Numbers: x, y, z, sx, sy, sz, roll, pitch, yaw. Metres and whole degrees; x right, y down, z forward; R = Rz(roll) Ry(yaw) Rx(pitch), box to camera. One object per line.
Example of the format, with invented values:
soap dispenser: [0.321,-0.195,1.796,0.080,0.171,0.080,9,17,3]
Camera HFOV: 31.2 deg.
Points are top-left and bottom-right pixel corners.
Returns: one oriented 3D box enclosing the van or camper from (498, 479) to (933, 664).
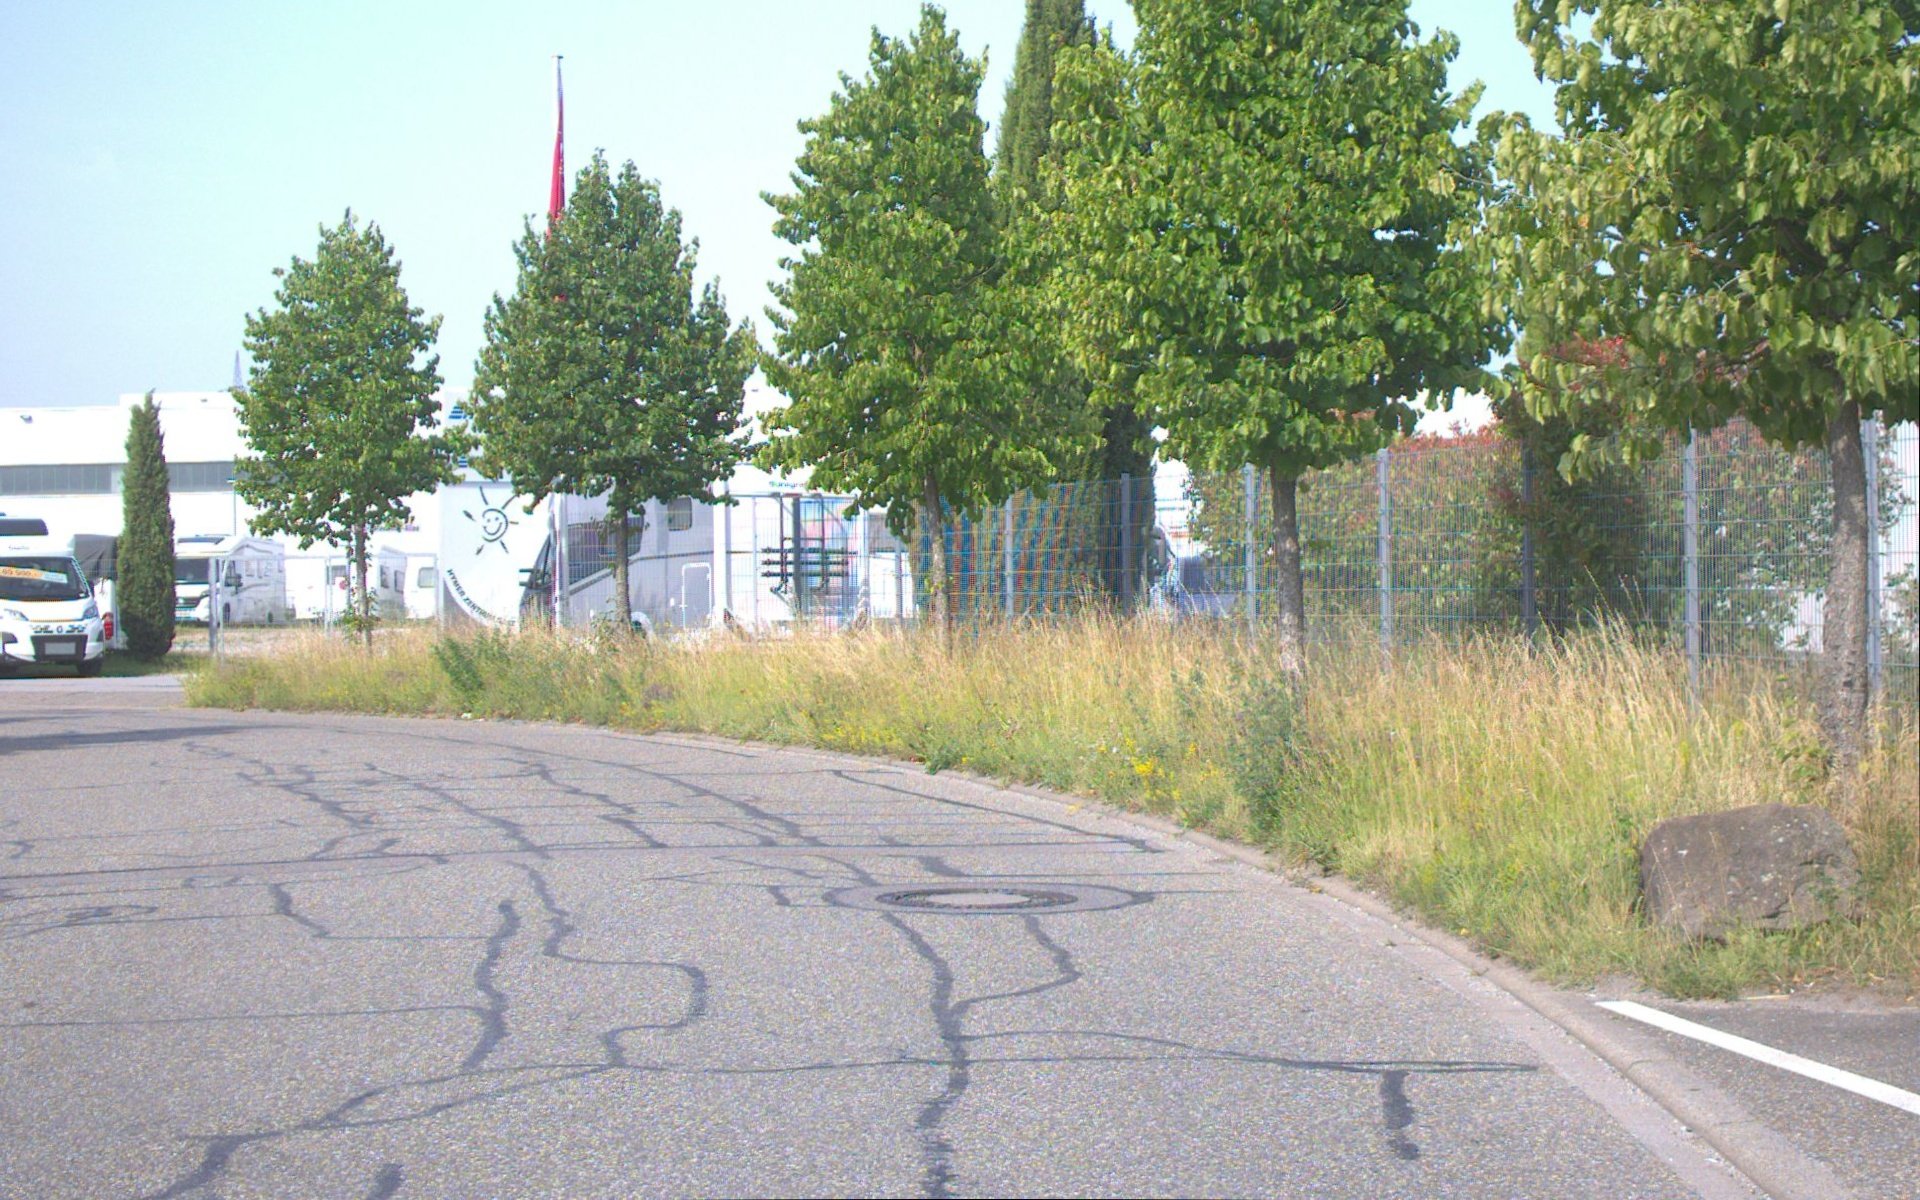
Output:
van or camper: [-4.211,-0.488,59.032,7.257,3.021,2.586,-1,0,-6]

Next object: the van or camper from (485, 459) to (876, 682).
van or camper: [-3.997,-0.385,47.433,2.349,2.838,7.342,-1,0,-31]

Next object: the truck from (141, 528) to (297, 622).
truck: [-20.358,-0.711,94.874,2.450,2.463,8.002,0,1,1]

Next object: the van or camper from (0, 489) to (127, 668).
van or camper: [-17.051,-0.379,59.781,2.331,2.933,6.969,-1,1,-37]

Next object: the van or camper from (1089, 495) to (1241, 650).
van or camper: [3.922,-0.501,67.011,2.320,2.854,6.610,-1,0,-2]

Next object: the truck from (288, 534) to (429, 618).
truck: [-16.911,-0.708,97.065,2.450,2.257,8.002,0,1,1]

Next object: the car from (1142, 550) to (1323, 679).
car: [3.609,0.165,46.152,1.722,1.637,4.001,1,1,-5]

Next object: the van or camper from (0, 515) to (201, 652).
van or camper: [-16.915,-0.373,67.668,2.483,2.550,6.626,0,1,0]

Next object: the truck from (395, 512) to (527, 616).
truck: [-14.066,-1.026,97.439,2.450,2.817,8.002,0,1,1]
